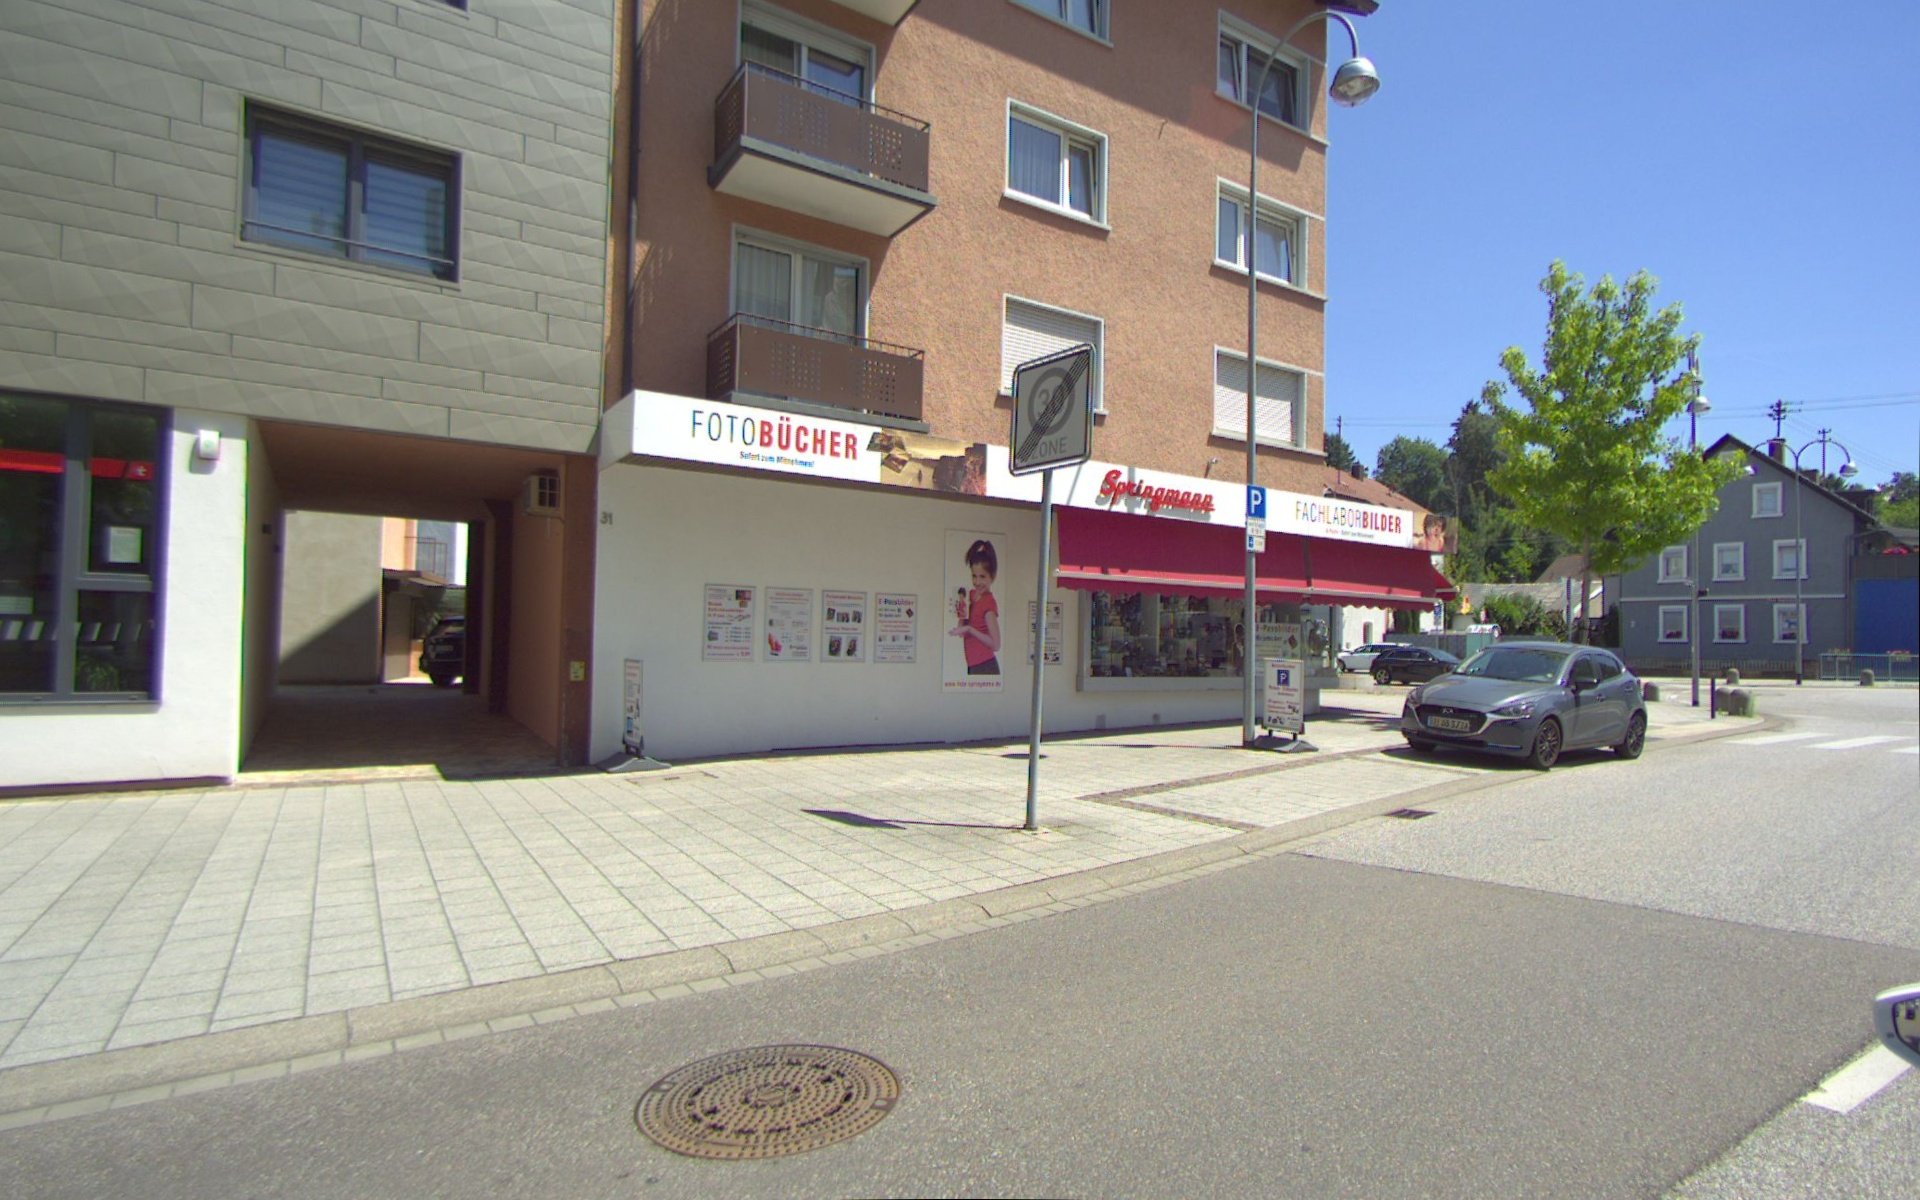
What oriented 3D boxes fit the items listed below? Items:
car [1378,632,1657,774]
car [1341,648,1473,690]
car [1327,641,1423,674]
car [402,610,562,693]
[{"bbox_3d":[7.389,1.236,13.179,4.022,1.506,1.655,2,0,-37],"label":"car"},{"bbox_3d":[17.009,2.583,38.408,1.750,1.476,4.398,2,-2,-33],"label":"car"},{"bbox_3d":[20.205,2.760,48.996,4.019,1.410,1.601,-1,0,41],"label":"car"},{"bbox_3d":[-10.772,1.151,23.006,1.962,1.706,3.998,0,-2,-4],"label":"car"}]
